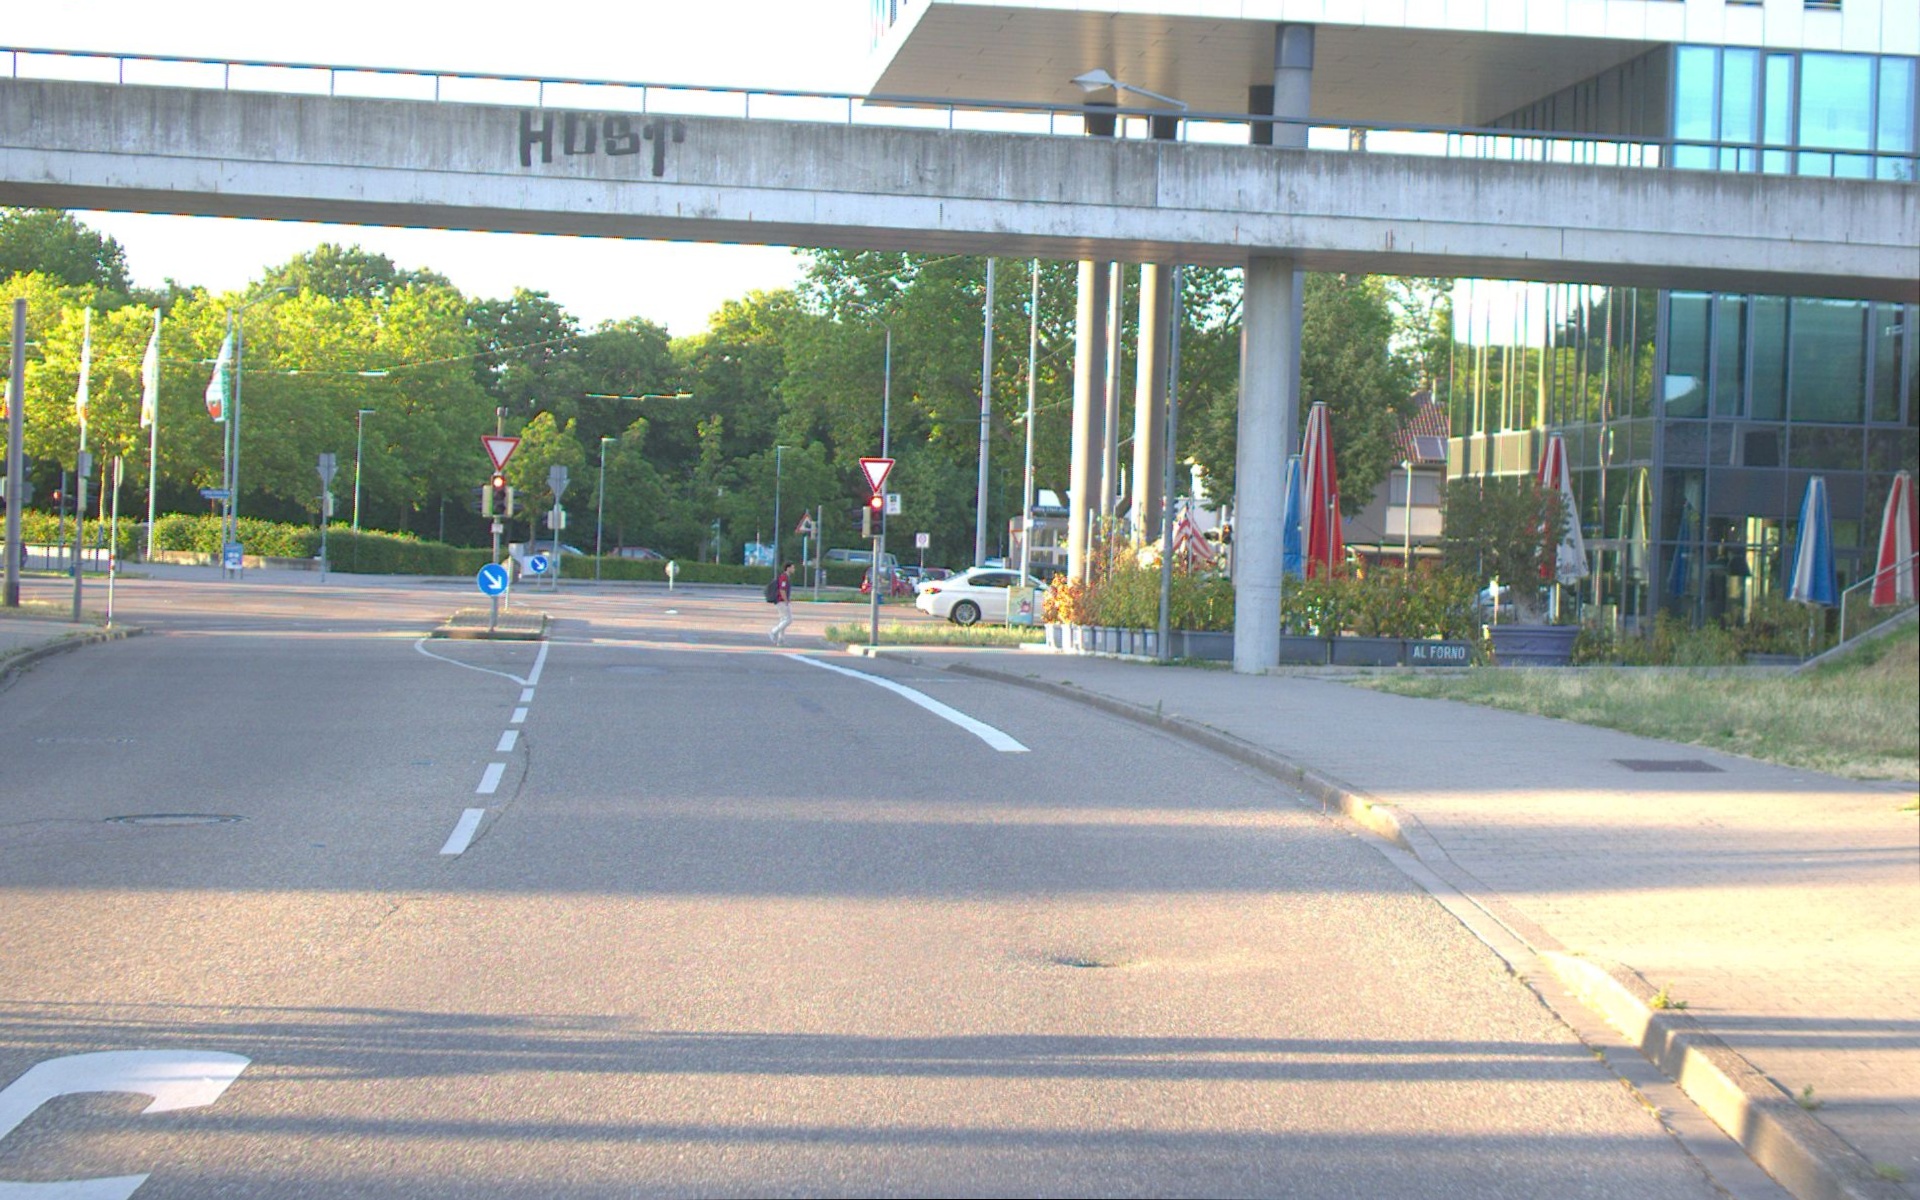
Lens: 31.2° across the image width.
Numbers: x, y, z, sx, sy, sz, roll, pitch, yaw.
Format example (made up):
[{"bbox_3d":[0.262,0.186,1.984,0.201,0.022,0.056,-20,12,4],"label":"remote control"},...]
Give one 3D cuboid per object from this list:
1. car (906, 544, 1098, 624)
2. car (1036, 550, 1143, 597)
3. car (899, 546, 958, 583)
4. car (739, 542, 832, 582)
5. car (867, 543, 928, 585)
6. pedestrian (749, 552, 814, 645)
[{"bbox_3d":[1.062,-0.410,87.753,4.686,1.822,1.835,2,1,-5],"label":"car"},{"bbox_3d":[5.520,-1.159,147.181,4.467,1.810,1.945,2,1,0],"label":"car"},{"bbox_3d":[-1.415,-1.633,156.999,1.499,1.600,3.399,3,2,21],"label":"car"},{"bbox_3d":[-9.118,-2.007,179.780,4.684,1.862,2.013,2,1,1],"label":"car"},{"bbox_3d":[-2.771,-1.607,153.165,1.499,1.754,3.399,3,2,21],"label":"car"},{"bbox_3d":[-3.627,-0.040,69.861,1.053,1.827,0.895,2,1,-19],"label":"pedestrian"}]
